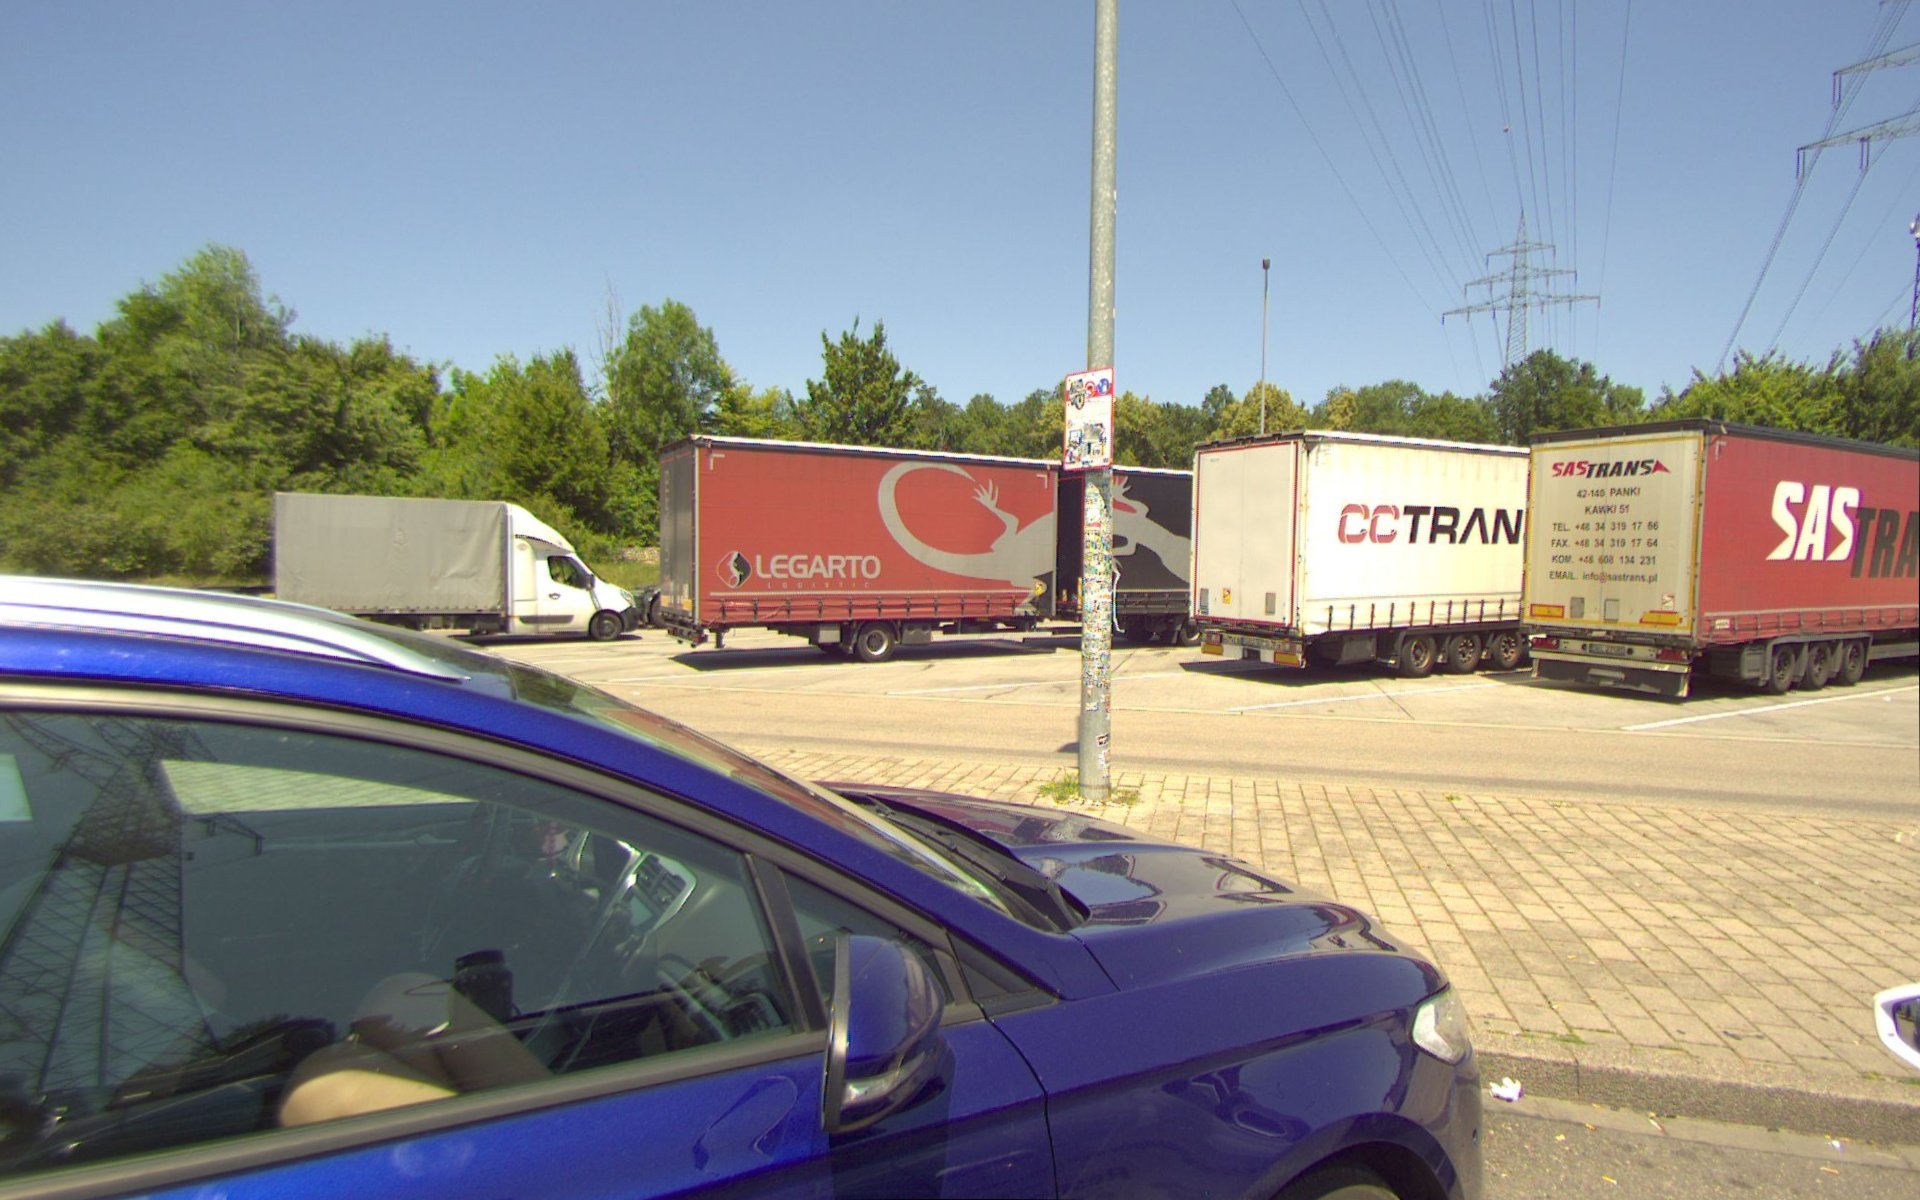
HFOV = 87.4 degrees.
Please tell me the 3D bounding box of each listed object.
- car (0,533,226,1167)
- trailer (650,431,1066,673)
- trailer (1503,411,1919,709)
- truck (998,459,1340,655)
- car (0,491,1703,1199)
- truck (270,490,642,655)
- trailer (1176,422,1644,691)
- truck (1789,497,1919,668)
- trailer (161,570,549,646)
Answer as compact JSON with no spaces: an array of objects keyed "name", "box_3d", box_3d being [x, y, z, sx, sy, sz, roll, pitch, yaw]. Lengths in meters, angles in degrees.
[{"name":"car","box_3d":[-4.423,0.577,2.088,4.522,1.526,1.743,0,2,-32]},{"name":"trailer","box_3d":[-1.887,-0.906,20.330,8.007,4.127,2.693,-1,3,-30]},{"name":"trailer","box_3d":[15.460,-0.679,18.607,13.599,4.127,2.807,-1,3,-31]},{"name":"truck","box_3d":[5.266,-1.001,24.537,8.585,4.127,2.693,-1,3,-30]},{"name":"car","box_3d":[-0.981,0.649,1.451,4.522,1.491,1.743,0,2,-32]},{"name":"truck","box_3d":[-11.245,-0.625,22.995,7.187,3.289,2.694,-1,3,-29]},{"name":"trailer","box_3d":[8.966,-0.772,19.342,10.264,4.158,2.693,-1,3,-30]},{"name":"truck","box_3d":[21.252,-0.405,22.043,5.903,3.409,2.798,-1,3,-30]},{"name":"trailer","box_3d":[-14.755,0.102,25.235,8.007,1.648,2.199,-1,3,-30]}]
